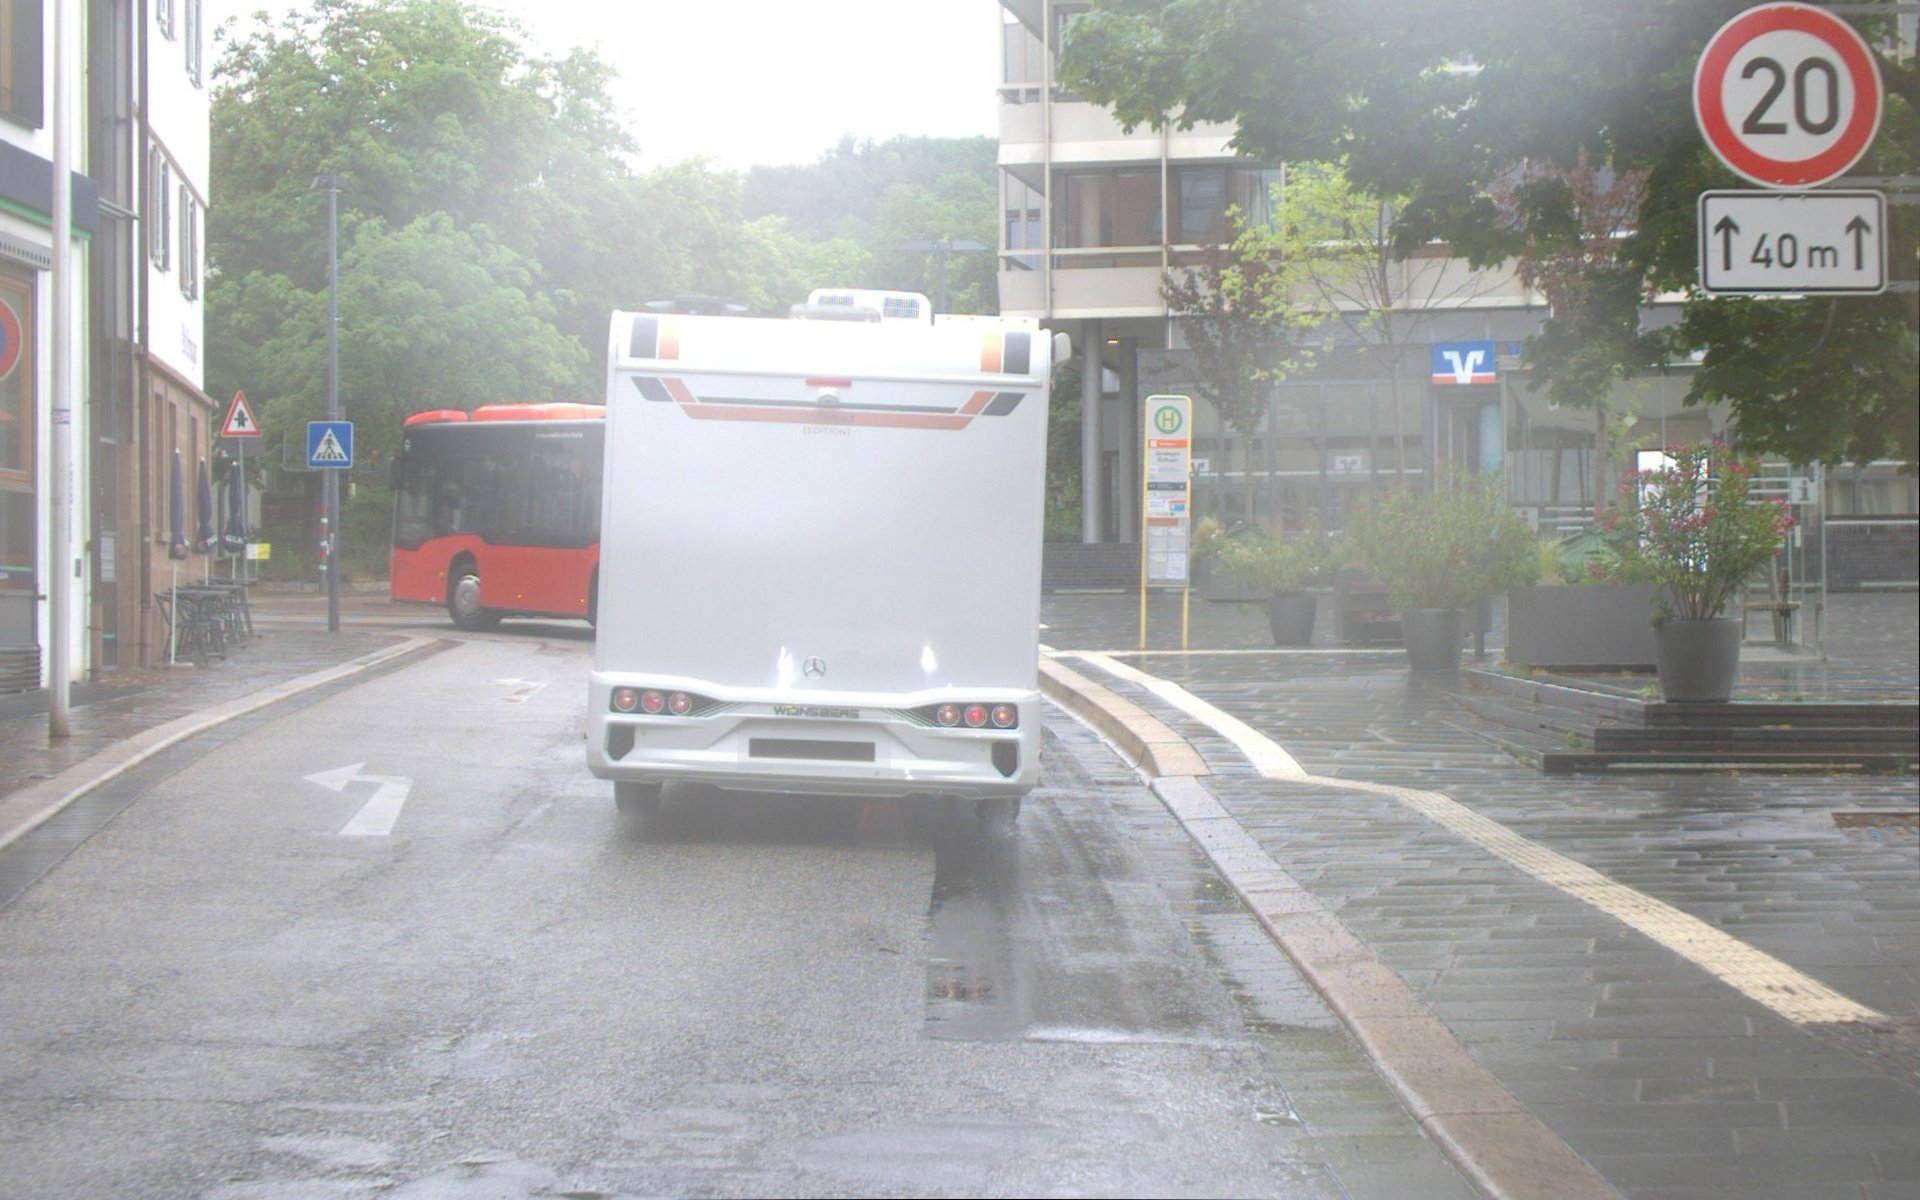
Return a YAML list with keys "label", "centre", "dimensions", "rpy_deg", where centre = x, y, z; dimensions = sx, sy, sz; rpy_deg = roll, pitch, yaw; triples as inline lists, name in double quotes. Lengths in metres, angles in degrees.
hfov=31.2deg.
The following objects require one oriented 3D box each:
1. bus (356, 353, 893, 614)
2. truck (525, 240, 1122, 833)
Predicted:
- label: "bus"
  centre: [-4.846, -1.446, 46.873]
  dimensions: [3.023, 3.135, 10.147]
  rpy_deg: [-2, 1, -32]
- label: "truck"
  centre: [-0.769, -0.337, 19.701]
  dimensions: [2.805, 2.787, 6.107]
  rpy_deg: [-2, 1, -2]
